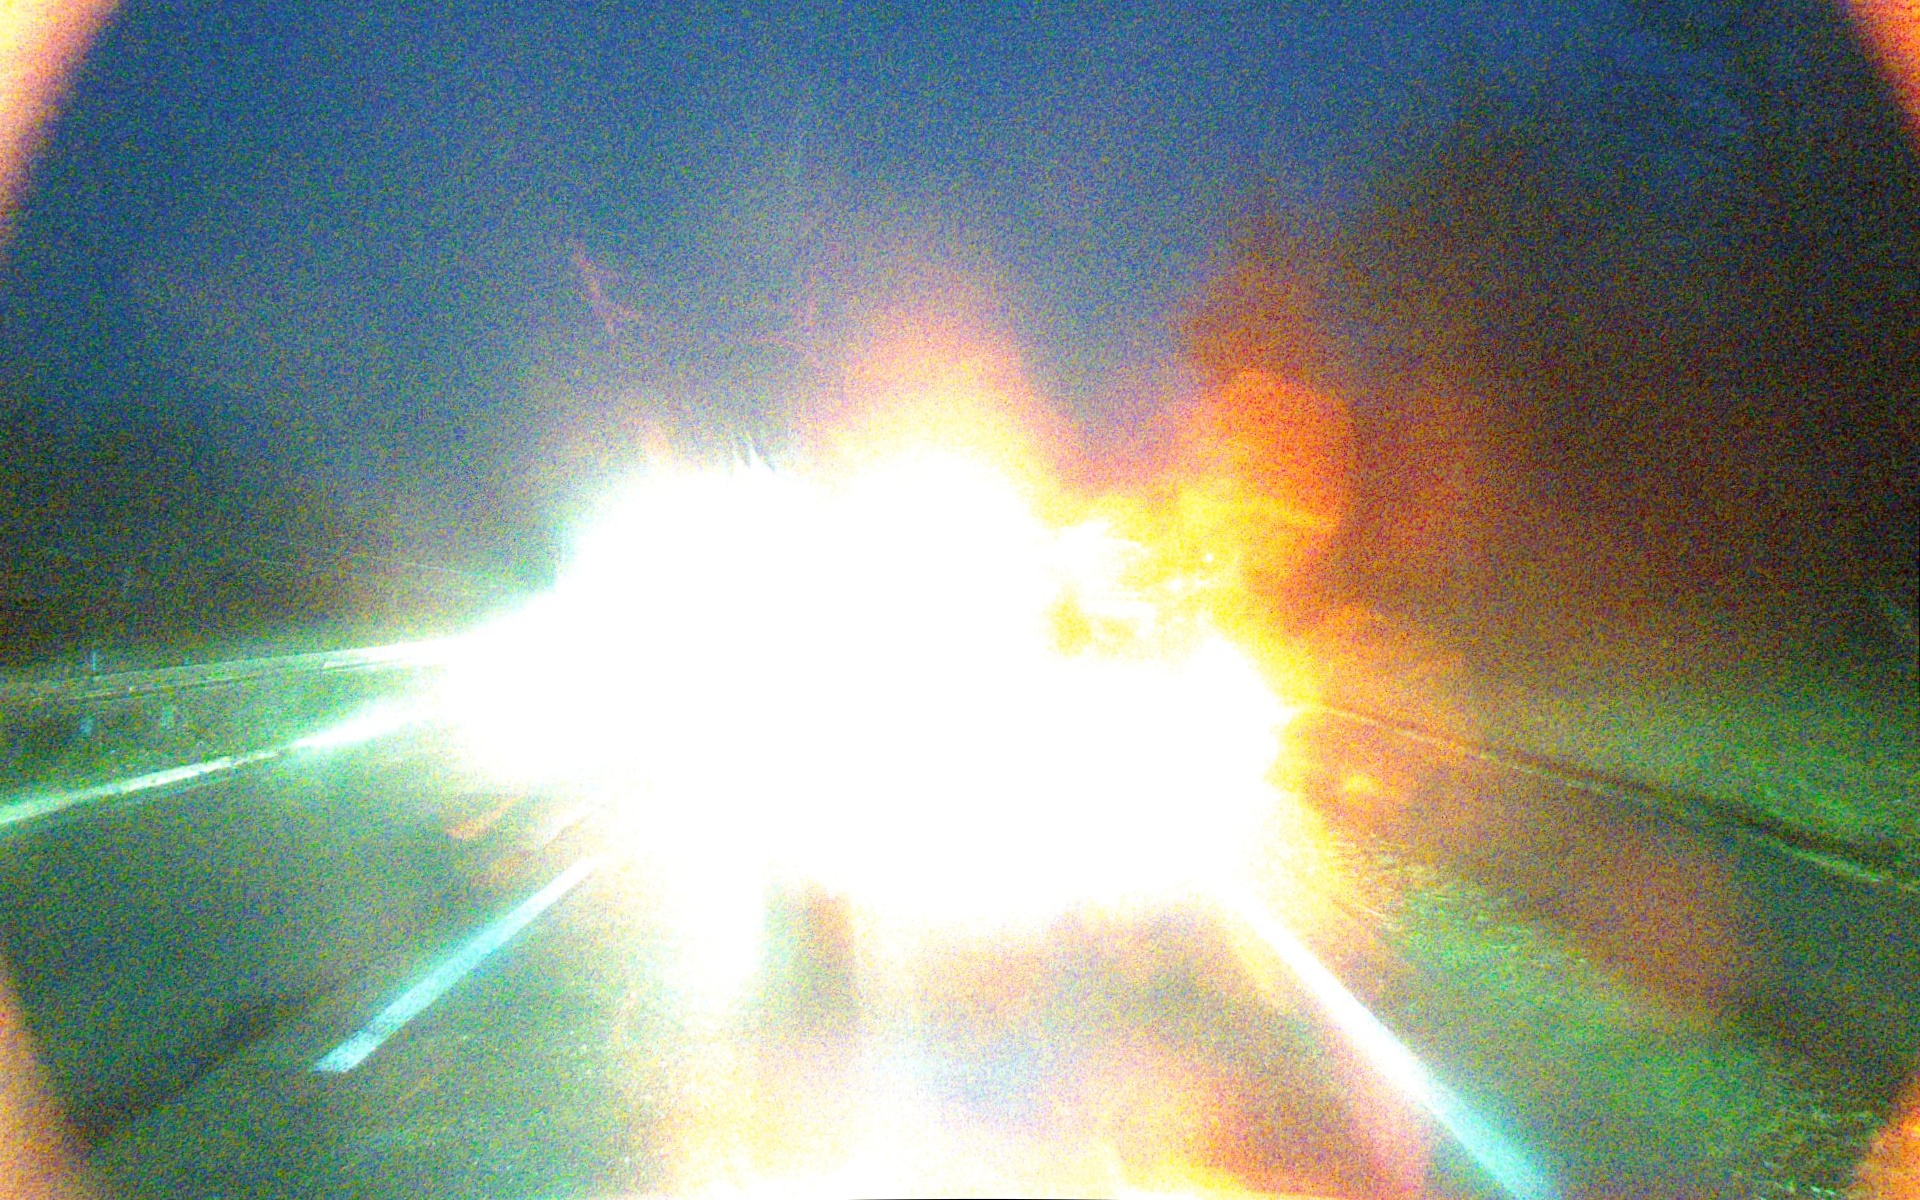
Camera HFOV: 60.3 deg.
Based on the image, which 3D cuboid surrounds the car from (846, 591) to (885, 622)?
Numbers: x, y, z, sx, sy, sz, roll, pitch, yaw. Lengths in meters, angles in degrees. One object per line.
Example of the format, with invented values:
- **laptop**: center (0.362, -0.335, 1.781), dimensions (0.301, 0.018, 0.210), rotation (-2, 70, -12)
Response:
- **car**: center (-4.948, 0.329, 86.824), dimensions (1.865, 1.495, 4.273), rotation (2, 0, -2)

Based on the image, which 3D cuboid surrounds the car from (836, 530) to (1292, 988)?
- **car**: center (0.391, 0.601, 8.384), dimensions (1.739, 1.742, 4.000), rotation (1, 0, 0)

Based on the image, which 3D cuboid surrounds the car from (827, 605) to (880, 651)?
- **car**: center (-3.960, 1.024, 62.133), dimensions (1.800, 1.573, 4.256), rotation (1, 0, -2)

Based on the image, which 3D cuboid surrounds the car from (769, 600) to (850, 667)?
- **car**: center (-3.946, 0.849, 43.939), dimensions (1.912, 1.685, 4.122), rotation (0, 0, -2)
